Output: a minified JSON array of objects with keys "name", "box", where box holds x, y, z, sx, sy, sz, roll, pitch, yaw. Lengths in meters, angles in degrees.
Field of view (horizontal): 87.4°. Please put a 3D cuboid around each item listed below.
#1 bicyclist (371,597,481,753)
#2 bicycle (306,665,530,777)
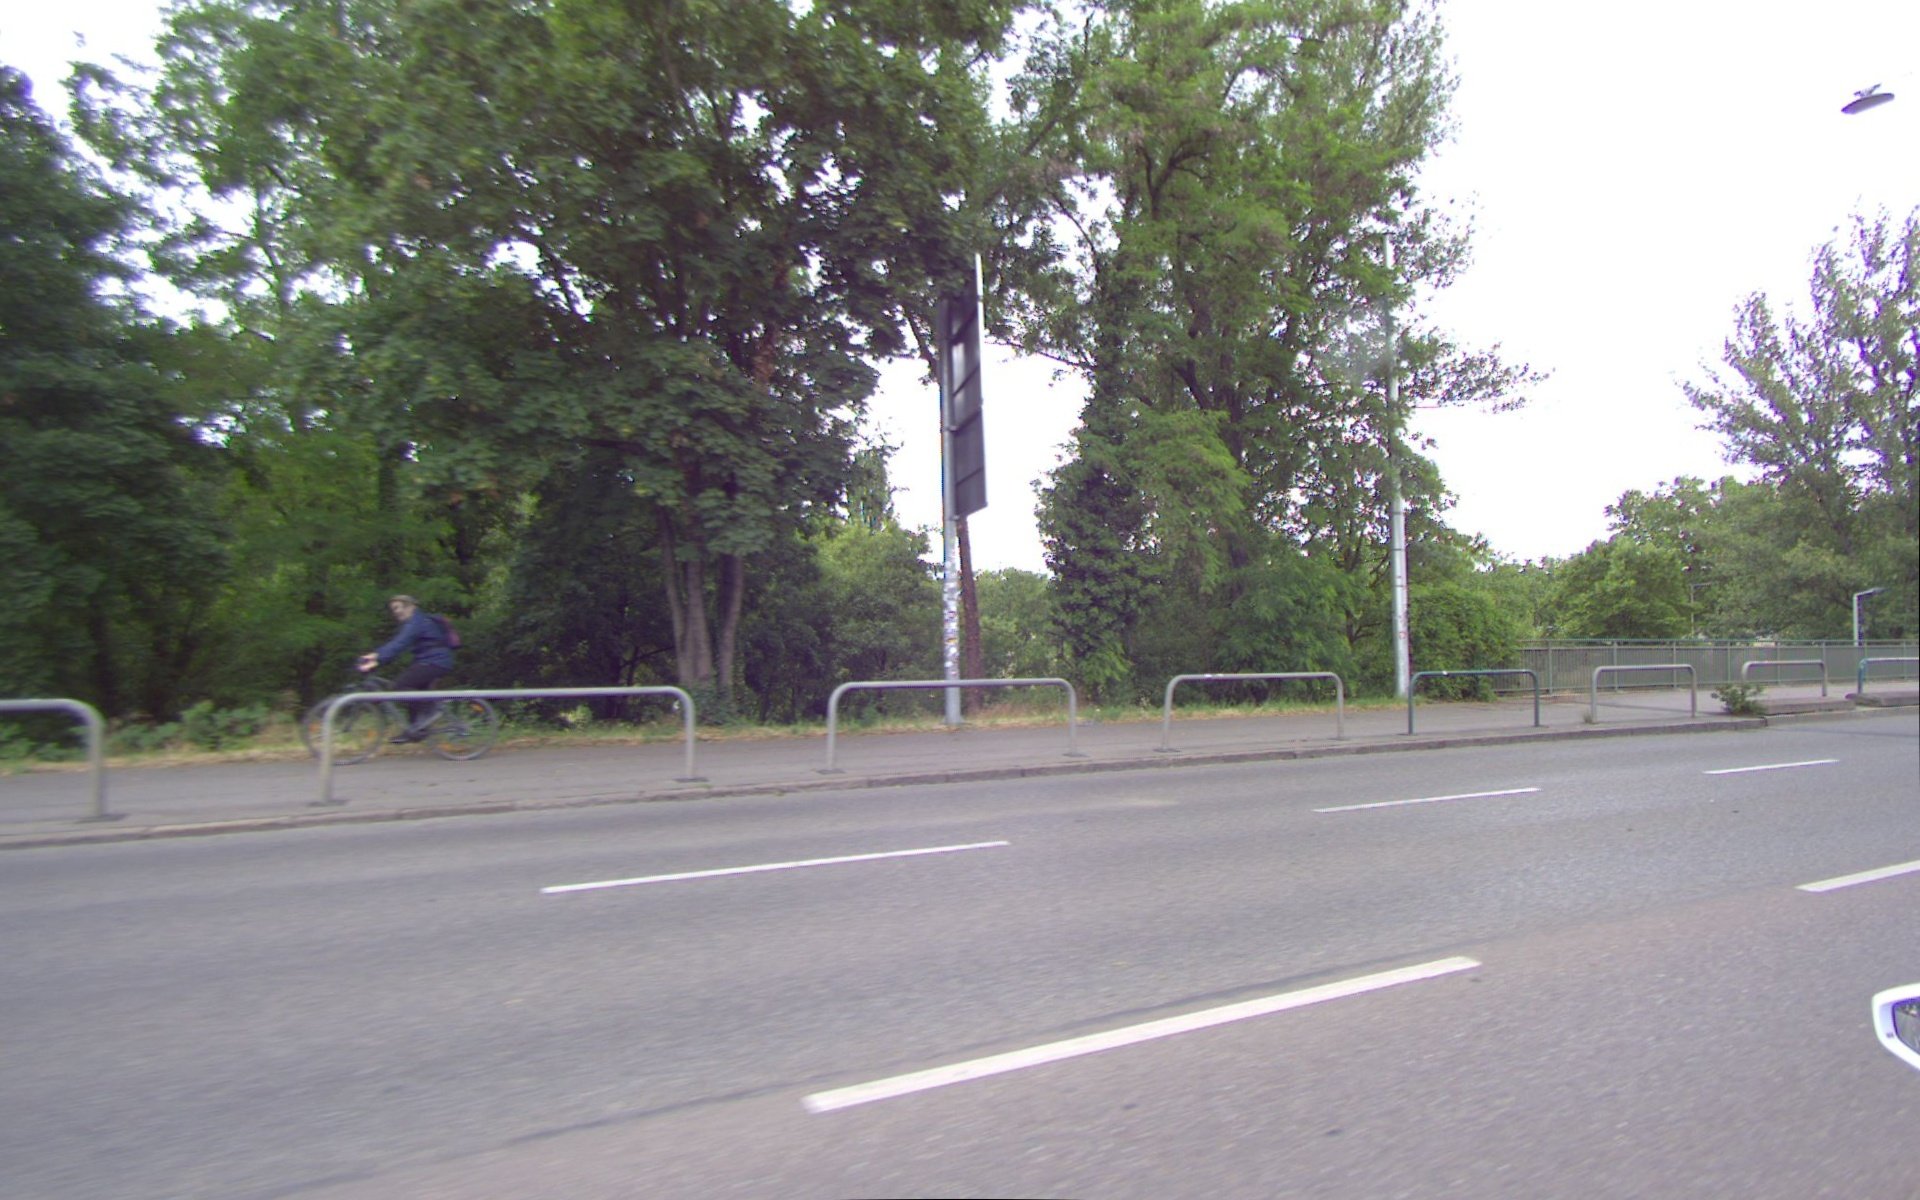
[{"name":"bicyclist","box":[-5.484,0.750,10.347,0.972,1.536,0.513,1,-2,-28]},{"name":"bicycle","box":[-5.513,1.203,10.319,1.977,1.015,0.482,1,-2,-29]}]
